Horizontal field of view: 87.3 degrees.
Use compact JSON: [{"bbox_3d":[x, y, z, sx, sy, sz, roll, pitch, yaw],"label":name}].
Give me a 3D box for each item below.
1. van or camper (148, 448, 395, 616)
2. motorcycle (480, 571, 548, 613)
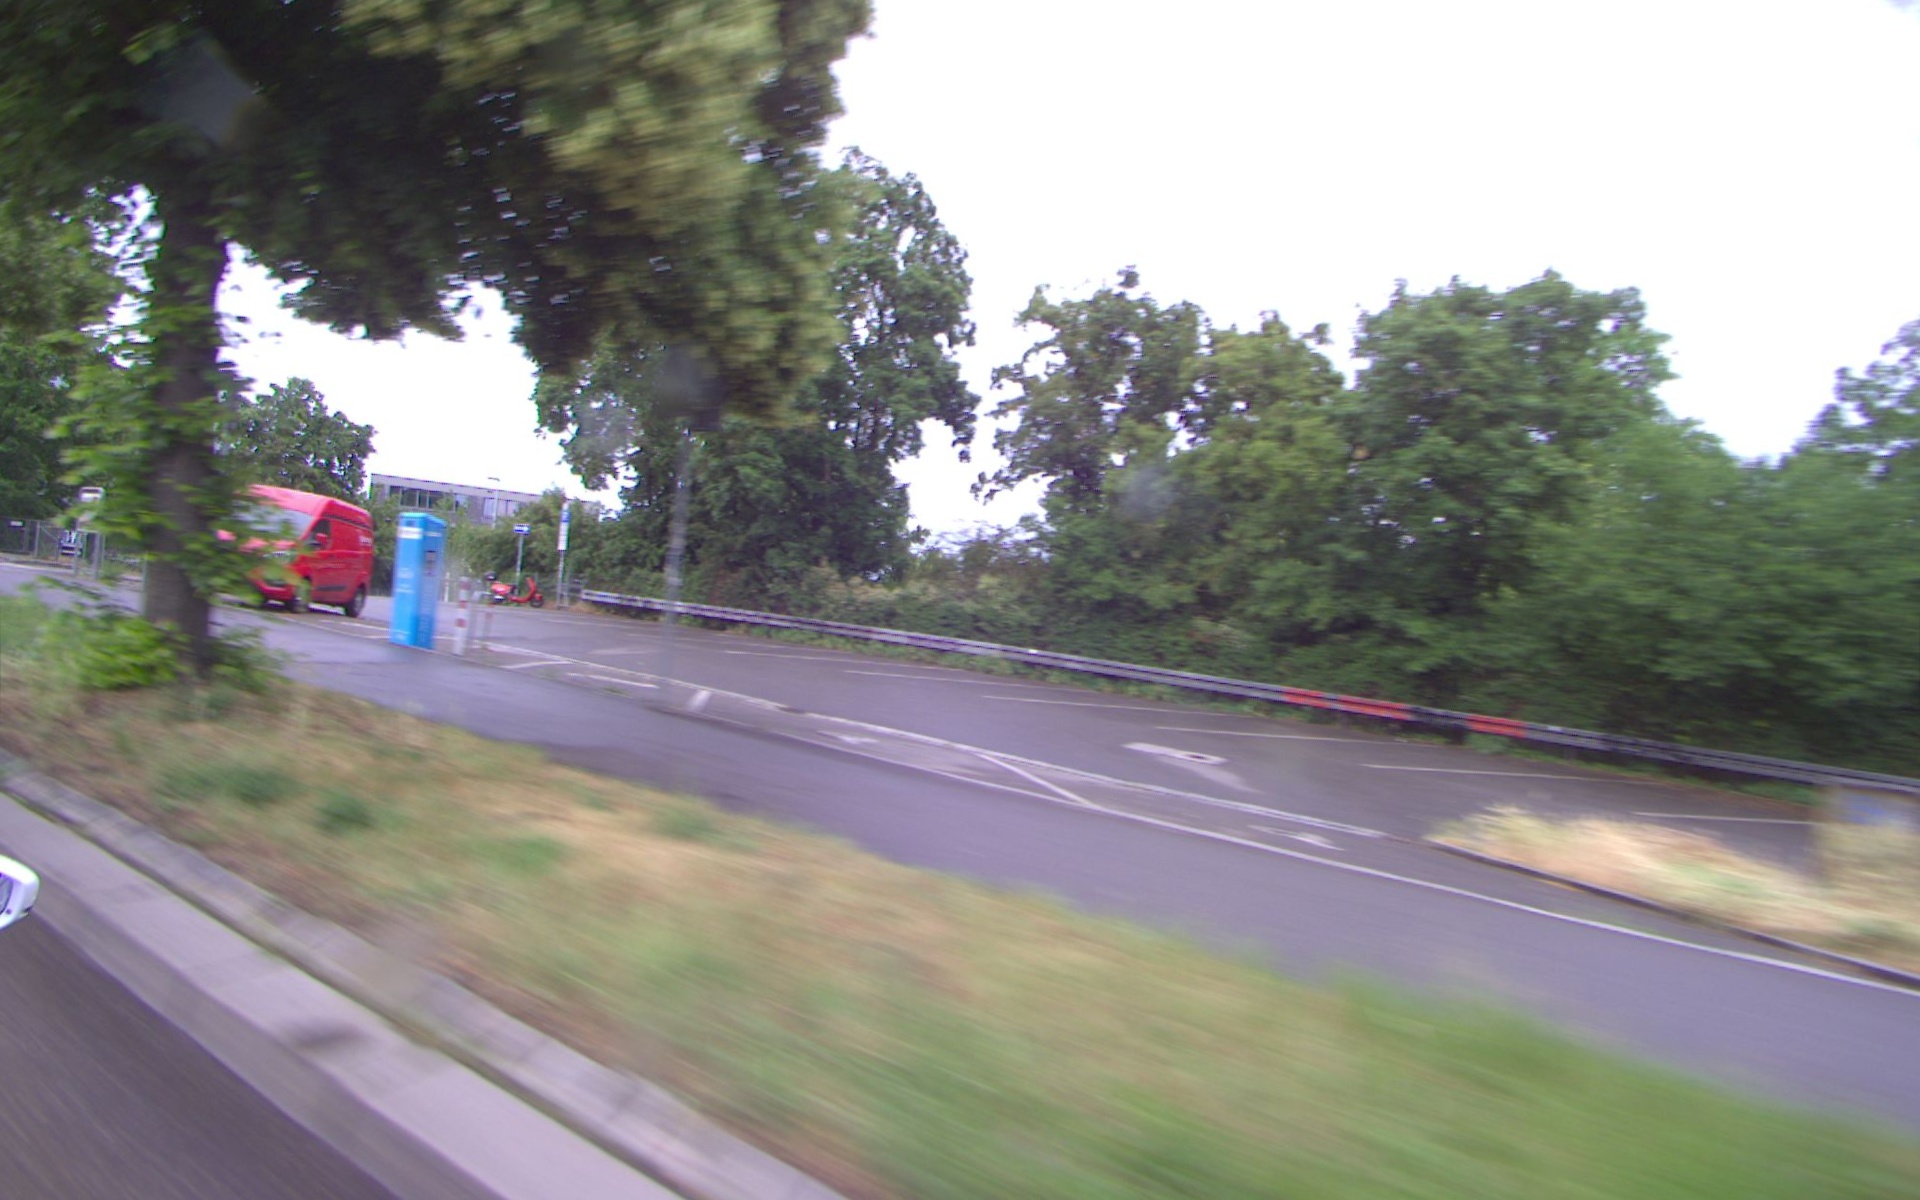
[{"bbox_3d":[-13.228,-1.102,19.852,2.011,2.430,5.382,10,-4,-15],"label":"van or camper"},{"bbox_3d":[-15.056,-0.255,33.974,1.994,1.226,0.472,4,-5,-19],"label":"motorcycle"}]
